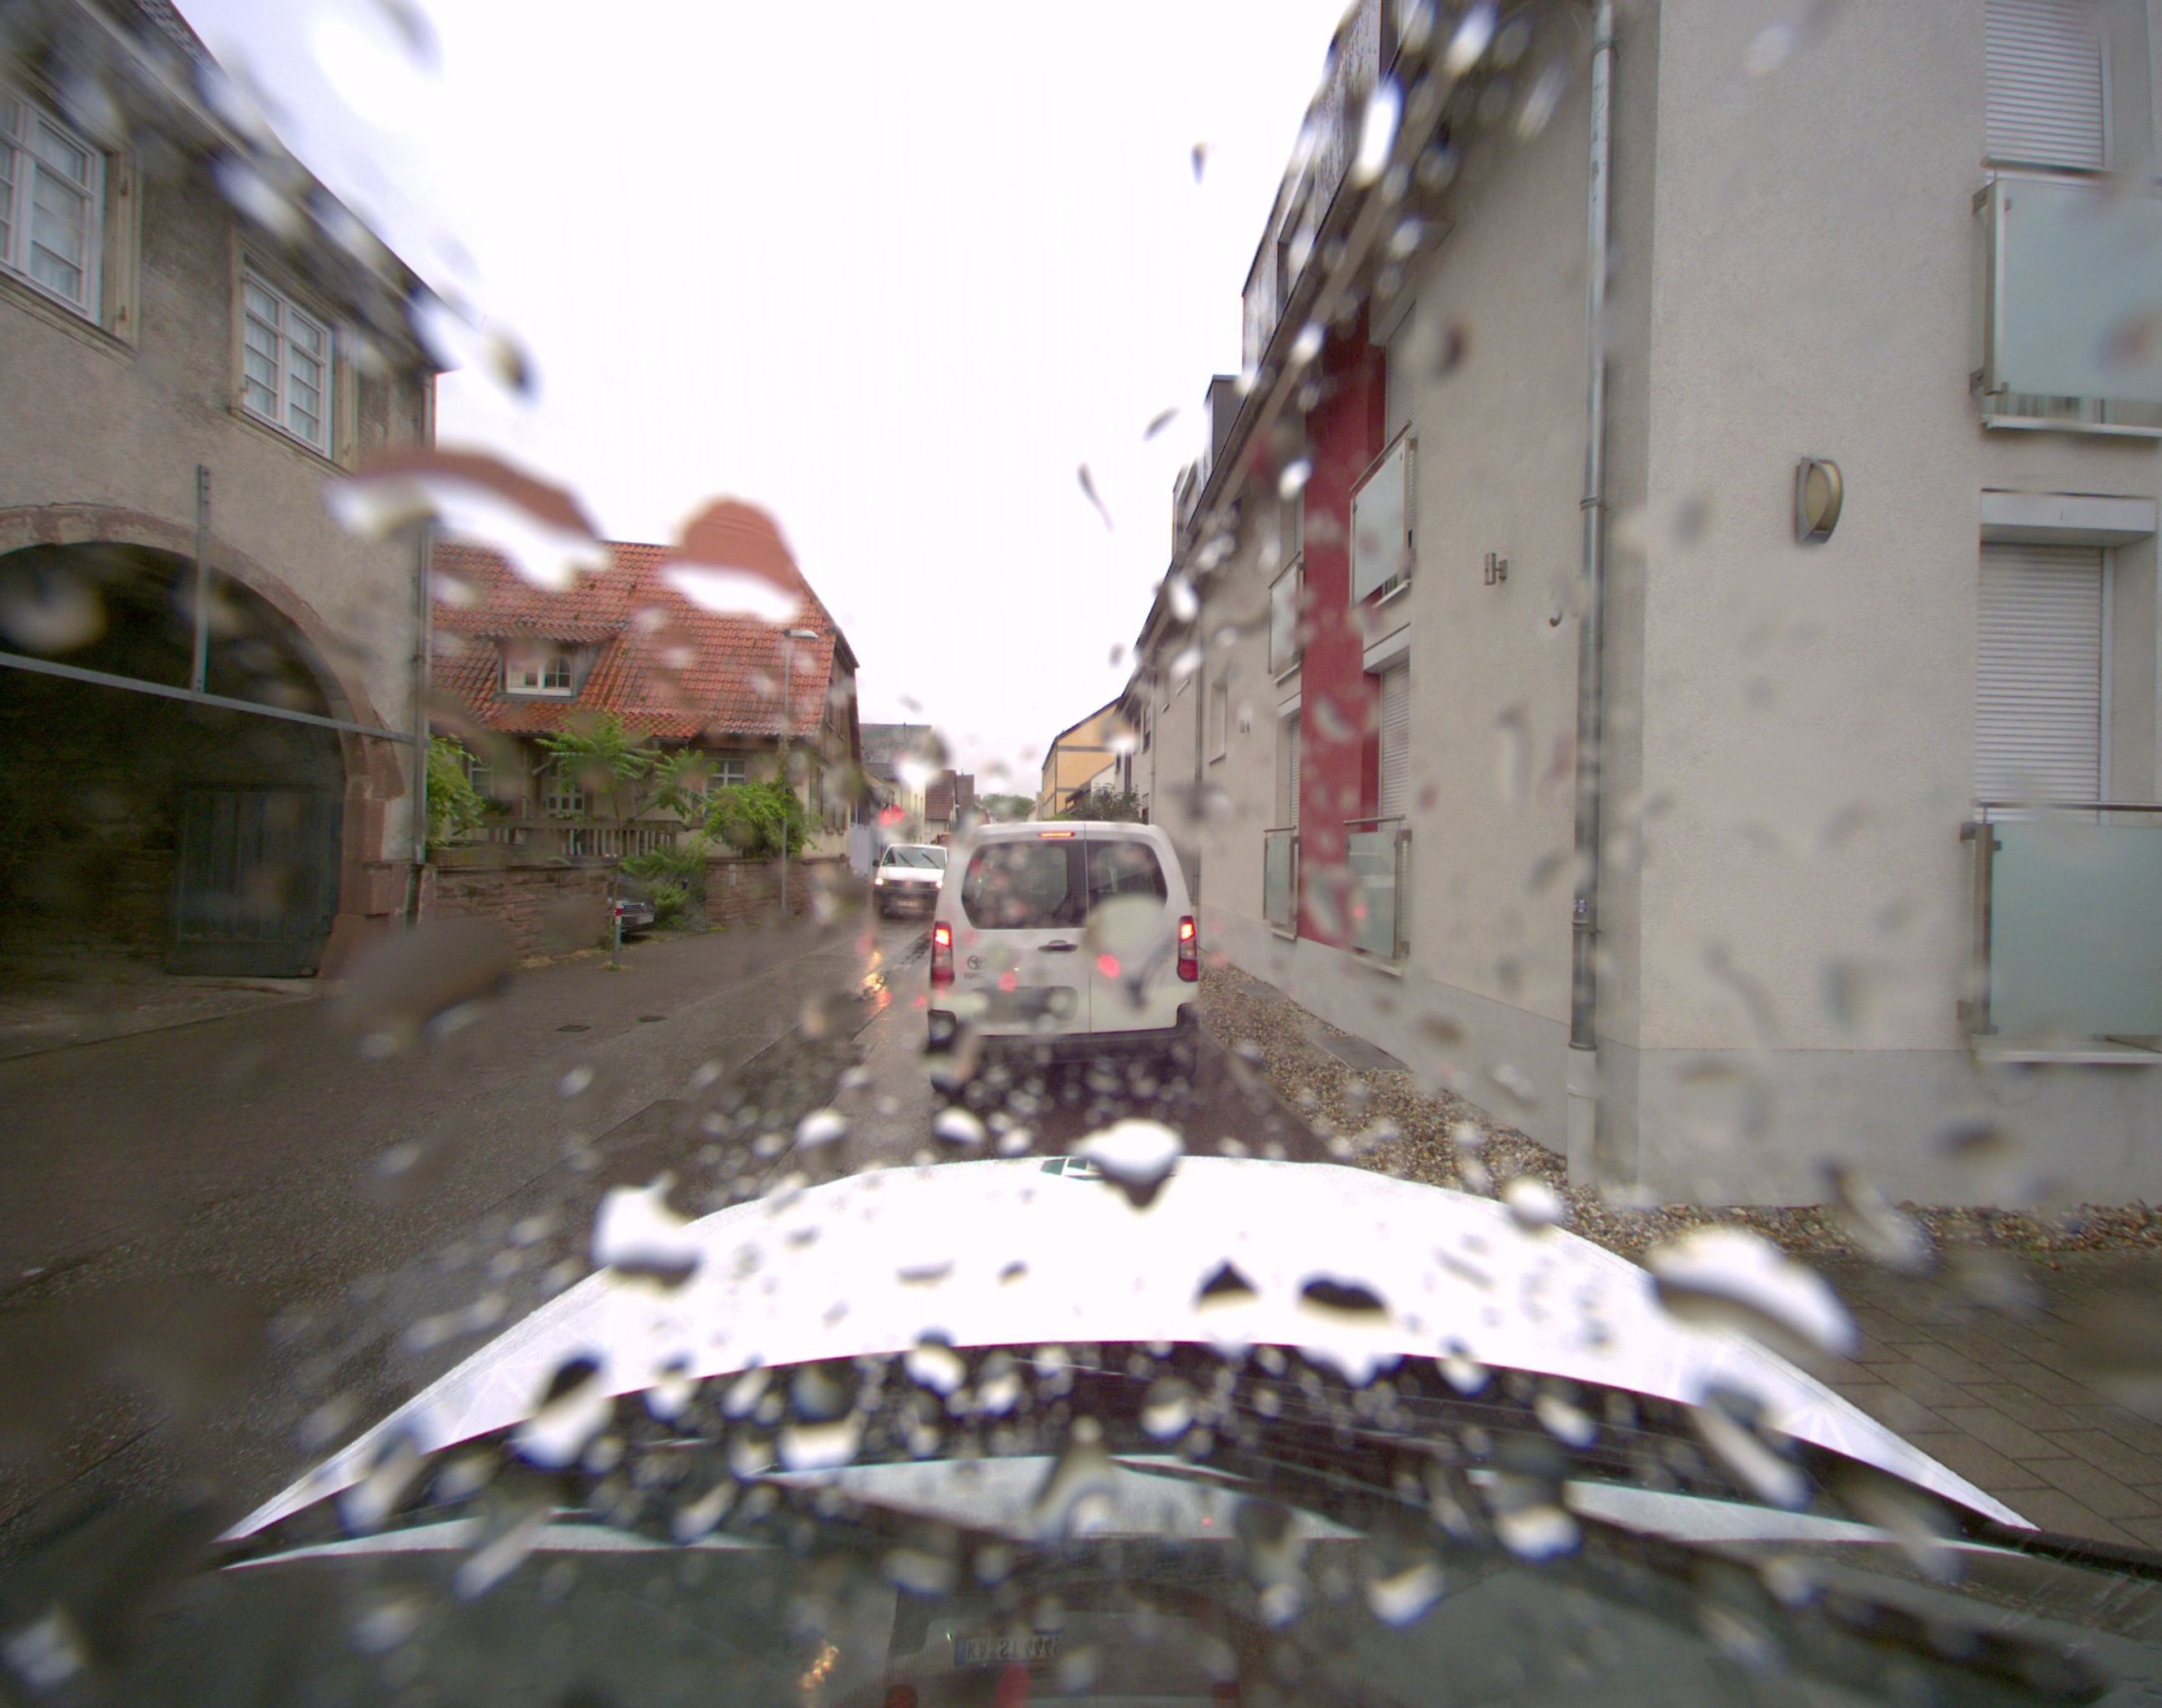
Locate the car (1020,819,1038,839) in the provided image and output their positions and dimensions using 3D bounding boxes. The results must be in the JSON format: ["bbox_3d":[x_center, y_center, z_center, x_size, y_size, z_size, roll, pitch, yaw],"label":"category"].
[{"bbox_3d":[-5.934,-2.820,93.472,1.989,2.014,3.994,2,-1,-4],"label":"car"}]

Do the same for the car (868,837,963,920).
[{"bbox_3d":[-4.384,0.637,22.269,1.889,1.967,4.715,2,-1,-5],"label":"car"}]

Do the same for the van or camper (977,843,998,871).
[{"bbox_3d":[-10.339,0.345,90.353,1.831,2.926,5.356,2,-1,-3],"label":"van or camper"}]

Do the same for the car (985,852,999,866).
[{"bbox_3d":[-11.686,0.668,106.681,1.575,1.724,3.546,2,-1,-3],"label":"car"}]

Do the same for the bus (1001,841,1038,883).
[{"bbox_3d":[-5.253,0.701,69.331,2.789,3.180,8.163,3,-1,-5],"label":"bus"}]

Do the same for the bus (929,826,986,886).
[{"bbox_3d":[-7.629,0.184,51.277,2.789,3.329,8.163,3,-1,-5],"label":"bus"}]

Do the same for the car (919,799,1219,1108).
[{"bbox_3d":[-0.230,0.606,6.952,1.792,1.819,4.094,-1,-1,-5],"label":"car"}]

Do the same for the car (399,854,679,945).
[{"bbox_3d":[-8.899,0.727,13.610,3.519,1.376,1.593,1,0,-3],"label":"car"}]

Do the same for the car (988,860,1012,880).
[{"bbox_3d":[-5.912,1.179,59.700,1.559,1.372,3.579,2,-1,-4],"label":"car"}]

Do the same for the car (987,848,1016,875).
[{"bbox_3d":[-4.679,0.435,48.060,1.559,1.480,3.579,2,-1,-4],"label":"car"}]

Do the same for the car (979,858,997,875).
[{"bbox_3d":[-9.653,1.292,84.991,1.575,1.724,3.546,2,-1,-3],"label":"car"}]

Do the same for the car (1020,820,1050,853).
[{"bbox_3d":[-3.107,-1.106,54.401,1.824,2.014,3.687,2,-1,-5],"label":"car"}]

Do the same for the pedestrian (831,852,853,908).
[{"bbox_3d":[-6.650,0.714,22.714,0.568,1.530,0.566,0,-1,-14],"label":"pedestrian"}]
